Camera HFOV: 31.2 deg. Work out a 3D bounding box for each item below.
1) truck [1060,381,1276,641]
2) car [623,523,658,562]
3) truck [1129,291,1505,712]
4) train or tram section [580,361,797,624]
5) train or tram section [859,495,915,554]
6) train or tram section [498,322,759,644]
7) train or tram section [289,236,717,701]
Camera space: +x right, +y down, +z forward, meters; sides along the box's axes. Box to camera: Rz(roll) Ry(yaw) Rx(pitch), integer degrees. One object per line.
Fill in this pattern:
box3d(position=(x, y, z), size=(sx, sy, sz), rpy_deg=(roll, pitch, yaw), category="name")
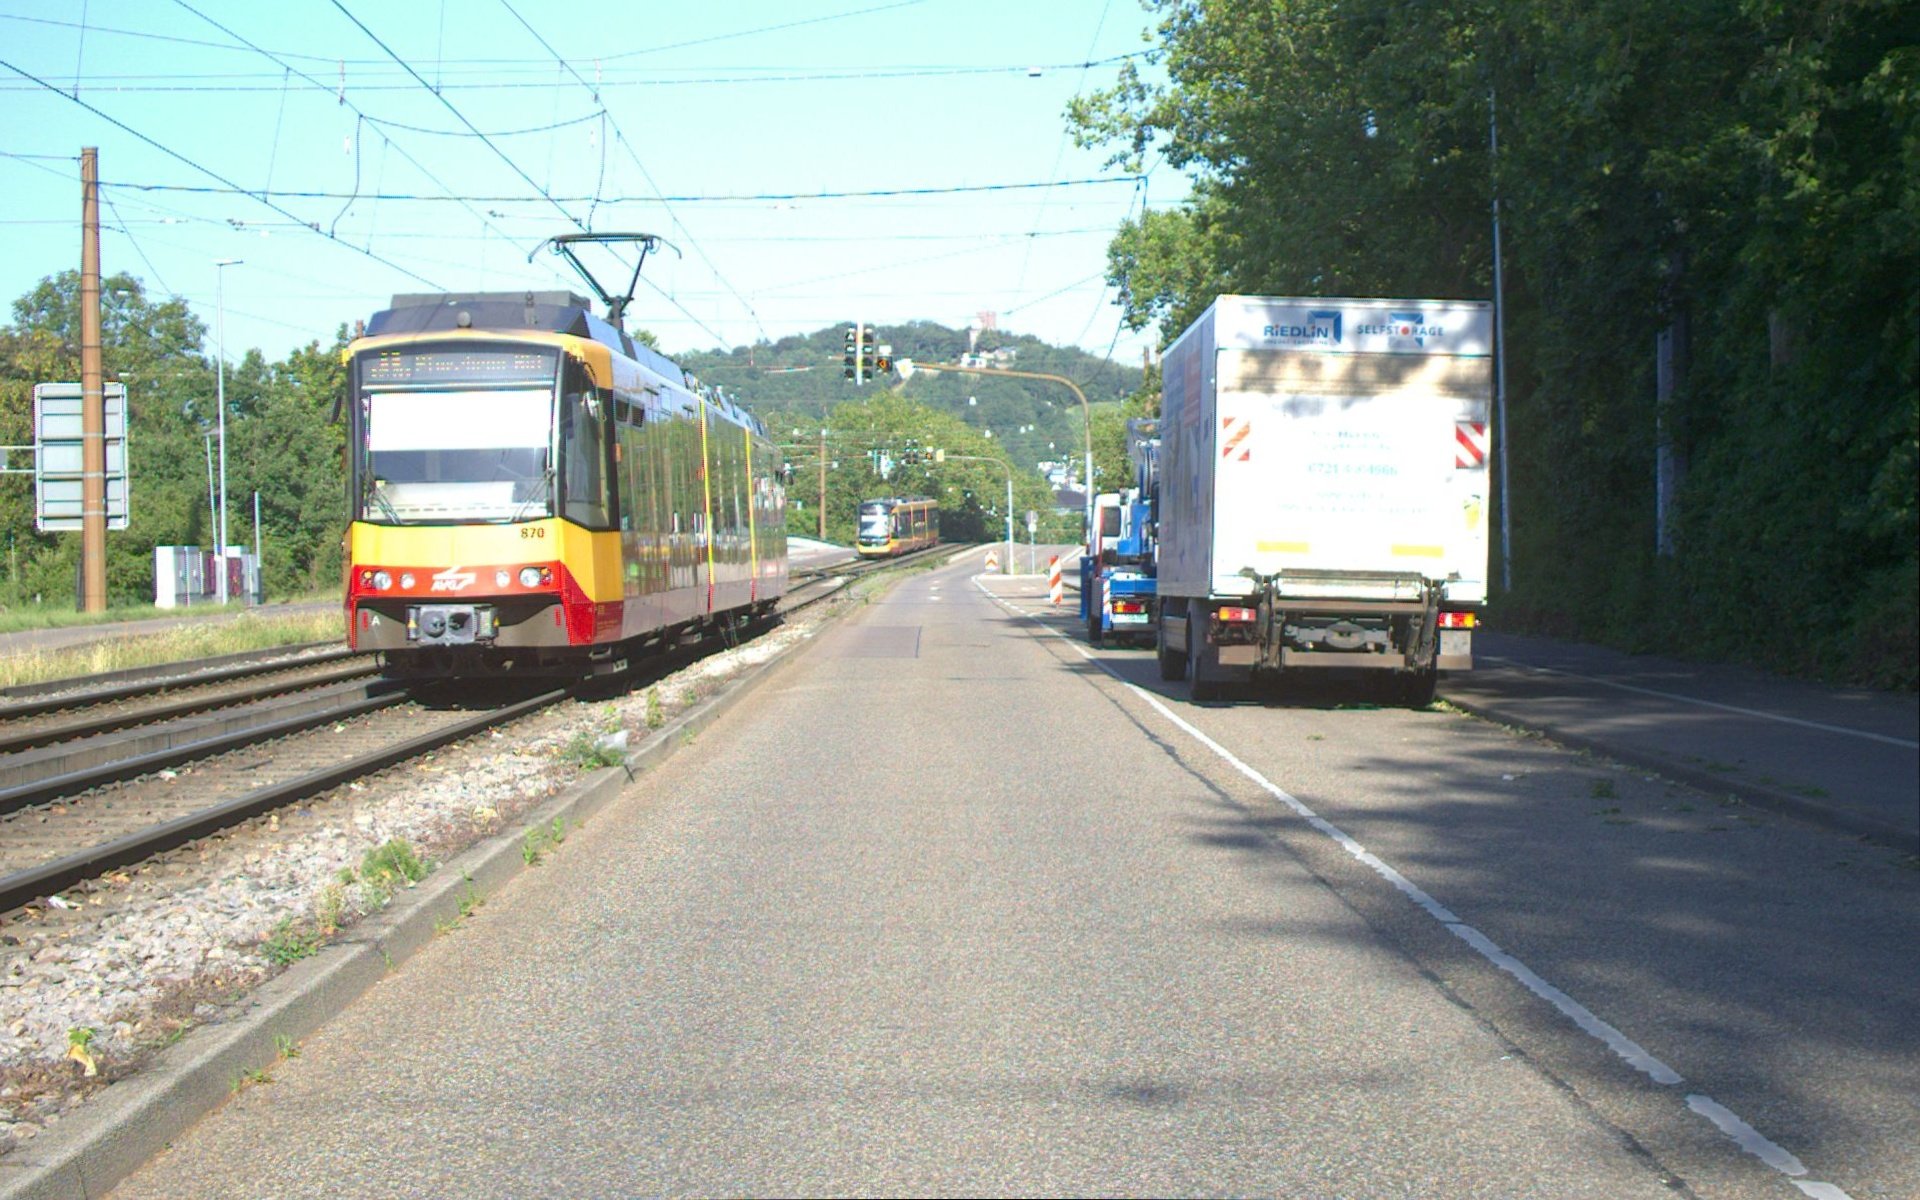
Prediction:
box3d(position=(3.208, -1.396, 55.538), size=(2.717, 3.770, 9.762), rpy_deg=(1, 1, -1), category="truck")
box3d(position=(-17.135, -3.064, 184.608), size=(1.723, 2.007, 4.001), rpy_deg=(1, 0, -4), category="car")
box3d(position=(3.489, -0.978, 36.222), size=(2.742, 3.770, 10.090), rpy_deg=(1, 1, -1), category="truck")
box3d(position=(-4.585, -1.818, 60.581), size=(2.719, 4.075, 12.813), rpy_deg=(-1, 1, 0), category="train or tram section")
box3d(position=(-4.542, -4.732, 216.431), size=(2.644, 3.554, 10.831), rpy_deg=(-1, 1, 3), category="train or tram section")
box3d(position=(-4.556, -1.597, 49.226), size=(2.694, 4.075, 9.911), rpy_deg=(-1, 1, 0), category="train or tram section")
box3d(position=(-4.555, -1.295, 37.445), size=(2.721, 4.077, 13.616), rpy_deg=(-1, 1, 0), category="train or tram section")
